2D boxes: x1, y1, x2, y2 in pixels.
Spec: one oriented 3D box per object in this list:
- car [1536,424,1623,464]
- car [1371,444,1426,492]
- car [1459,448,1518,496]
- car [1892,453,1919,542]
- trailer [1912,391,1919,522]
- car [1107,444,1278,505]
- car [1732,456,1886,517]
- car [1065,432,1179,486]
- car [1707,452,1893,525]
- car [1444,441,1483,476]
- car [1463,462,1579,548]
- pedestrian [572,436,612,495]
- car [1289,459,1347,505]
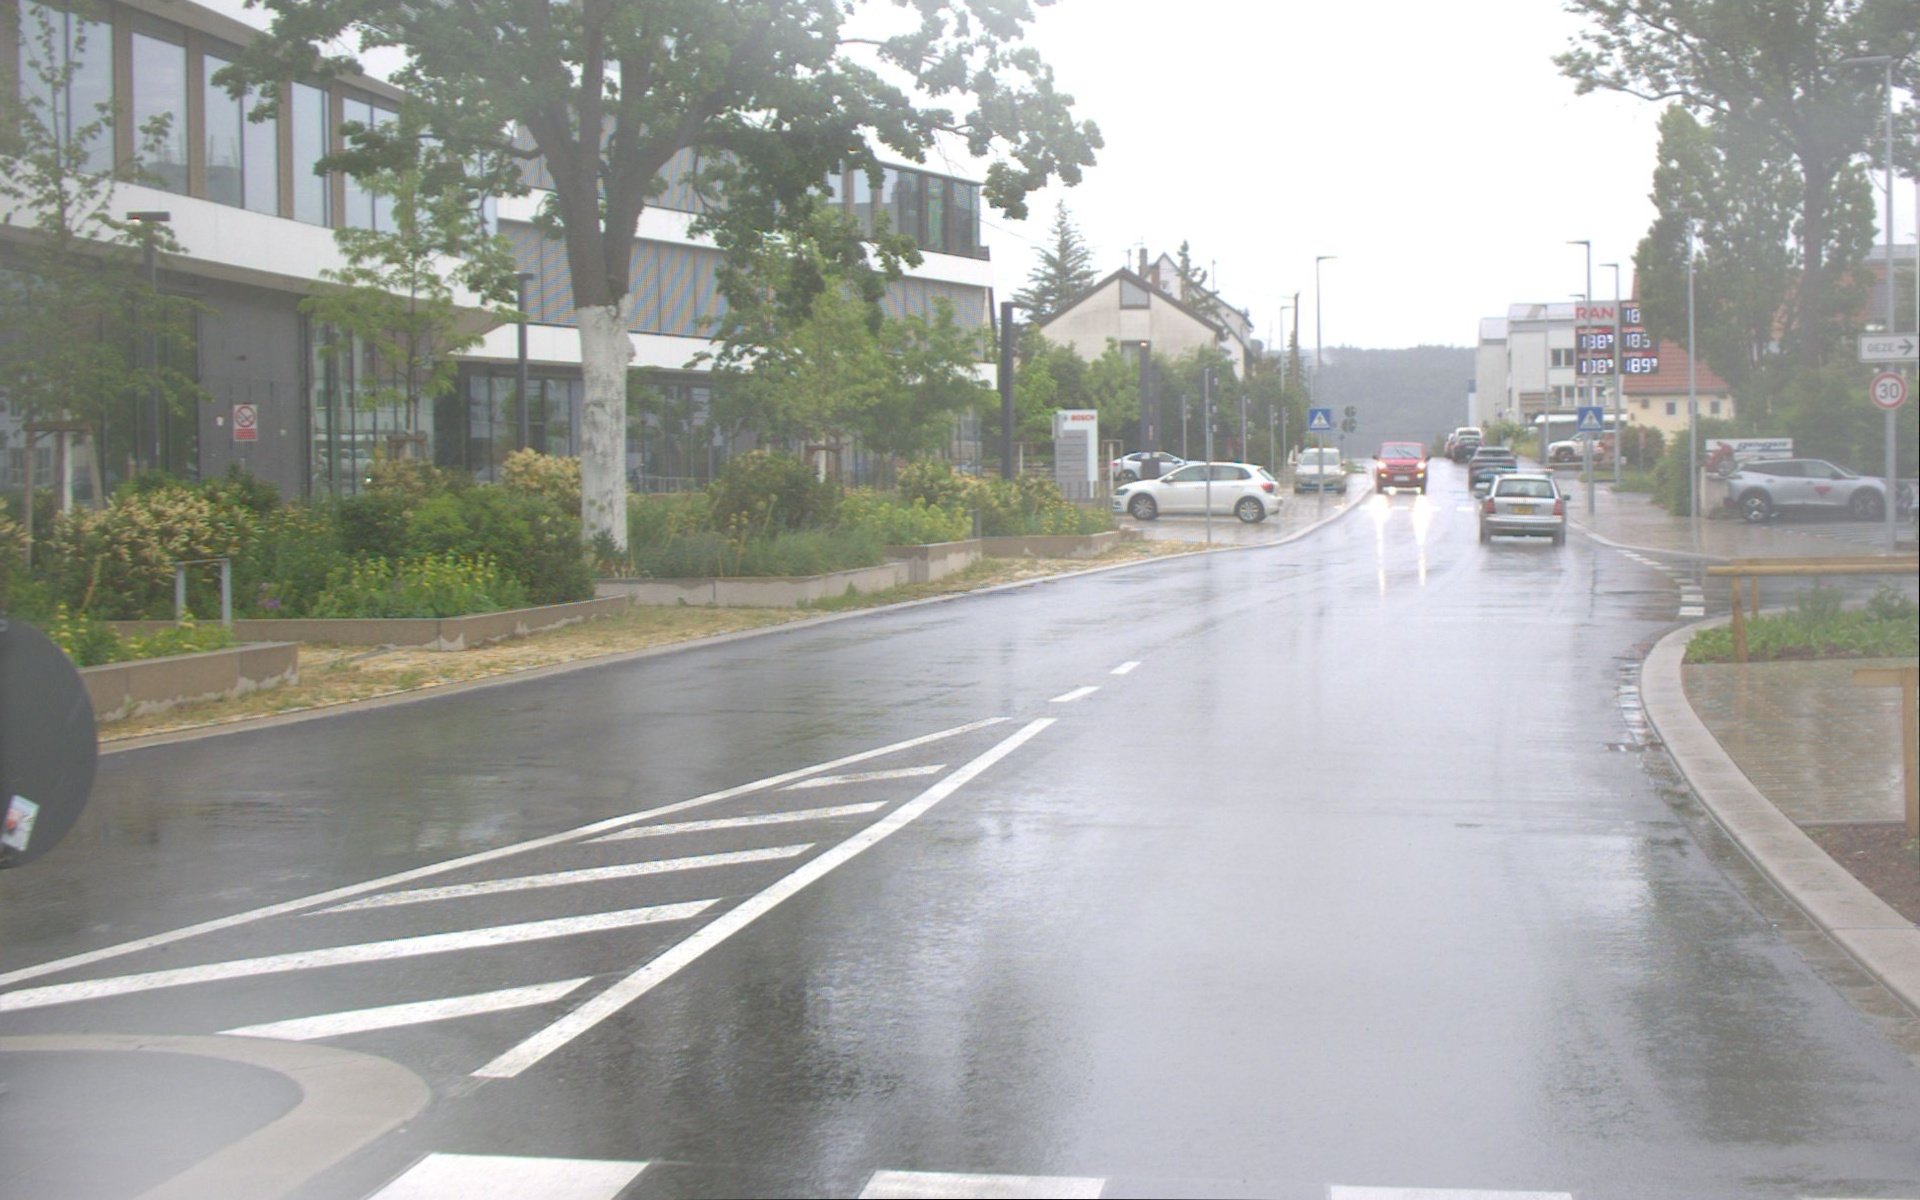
[{"bbox_3d":[31.396,-7.902,174.286,4.113,1.700,1.788,4,1,5],"label":"car"},{"bbox_3d":[16.790,-5.060,131.678,2.003,1.811,4.978,1,2,7],"label":"car"},{"bbox_3d":[21.170,-5.125,137.708,2.155,1.700,3.999,4,1,8],"label":"car"},{"bbox_3d":[18.163,-1.789,59.498,3.727,1.523,1.650,-1,1,8],"label":"car"},{"bbox_3d":[17.269,-2.372,57.008,2.703,2.164,1.548,1,2,10],"label":"trailer"},{"bbox_3d":[5.600,-3.027,82.591,3.929,1.418,1.898,1,2,9],"label":"car"},{"bbox_3d":[21.215,-2.835,85.876,3.624,1.489,1.805,0,2,17],"label":"car"},{"bbox_3d":[7.067,-6.153,150.406,4.753,2.006,2.000,4,1,1],"label":"car"},{"bbox_3d":[20.353,-2.708,83.304,4.211,1.644,1.998,-1,2,18],"label":"car"},{"bbox_3d":[27.919,-7.839,190.779,1.994,1.700,3.999,4,1,8],"label":"car"},{"bbox_3d":[11.350,-1.905,69.716,1.949,1.550,3.999,4,1,5],"label":"car"},{"bbox_3d":[-10.812,-3.951,100.962,1.013,1.718,0.772,1,3,6],"label":"pedestrian"},{"bbox_3d":[13.236,-4.384,126.969,1.994,1.623,4.152,0,3,8],"label":"car"}]
